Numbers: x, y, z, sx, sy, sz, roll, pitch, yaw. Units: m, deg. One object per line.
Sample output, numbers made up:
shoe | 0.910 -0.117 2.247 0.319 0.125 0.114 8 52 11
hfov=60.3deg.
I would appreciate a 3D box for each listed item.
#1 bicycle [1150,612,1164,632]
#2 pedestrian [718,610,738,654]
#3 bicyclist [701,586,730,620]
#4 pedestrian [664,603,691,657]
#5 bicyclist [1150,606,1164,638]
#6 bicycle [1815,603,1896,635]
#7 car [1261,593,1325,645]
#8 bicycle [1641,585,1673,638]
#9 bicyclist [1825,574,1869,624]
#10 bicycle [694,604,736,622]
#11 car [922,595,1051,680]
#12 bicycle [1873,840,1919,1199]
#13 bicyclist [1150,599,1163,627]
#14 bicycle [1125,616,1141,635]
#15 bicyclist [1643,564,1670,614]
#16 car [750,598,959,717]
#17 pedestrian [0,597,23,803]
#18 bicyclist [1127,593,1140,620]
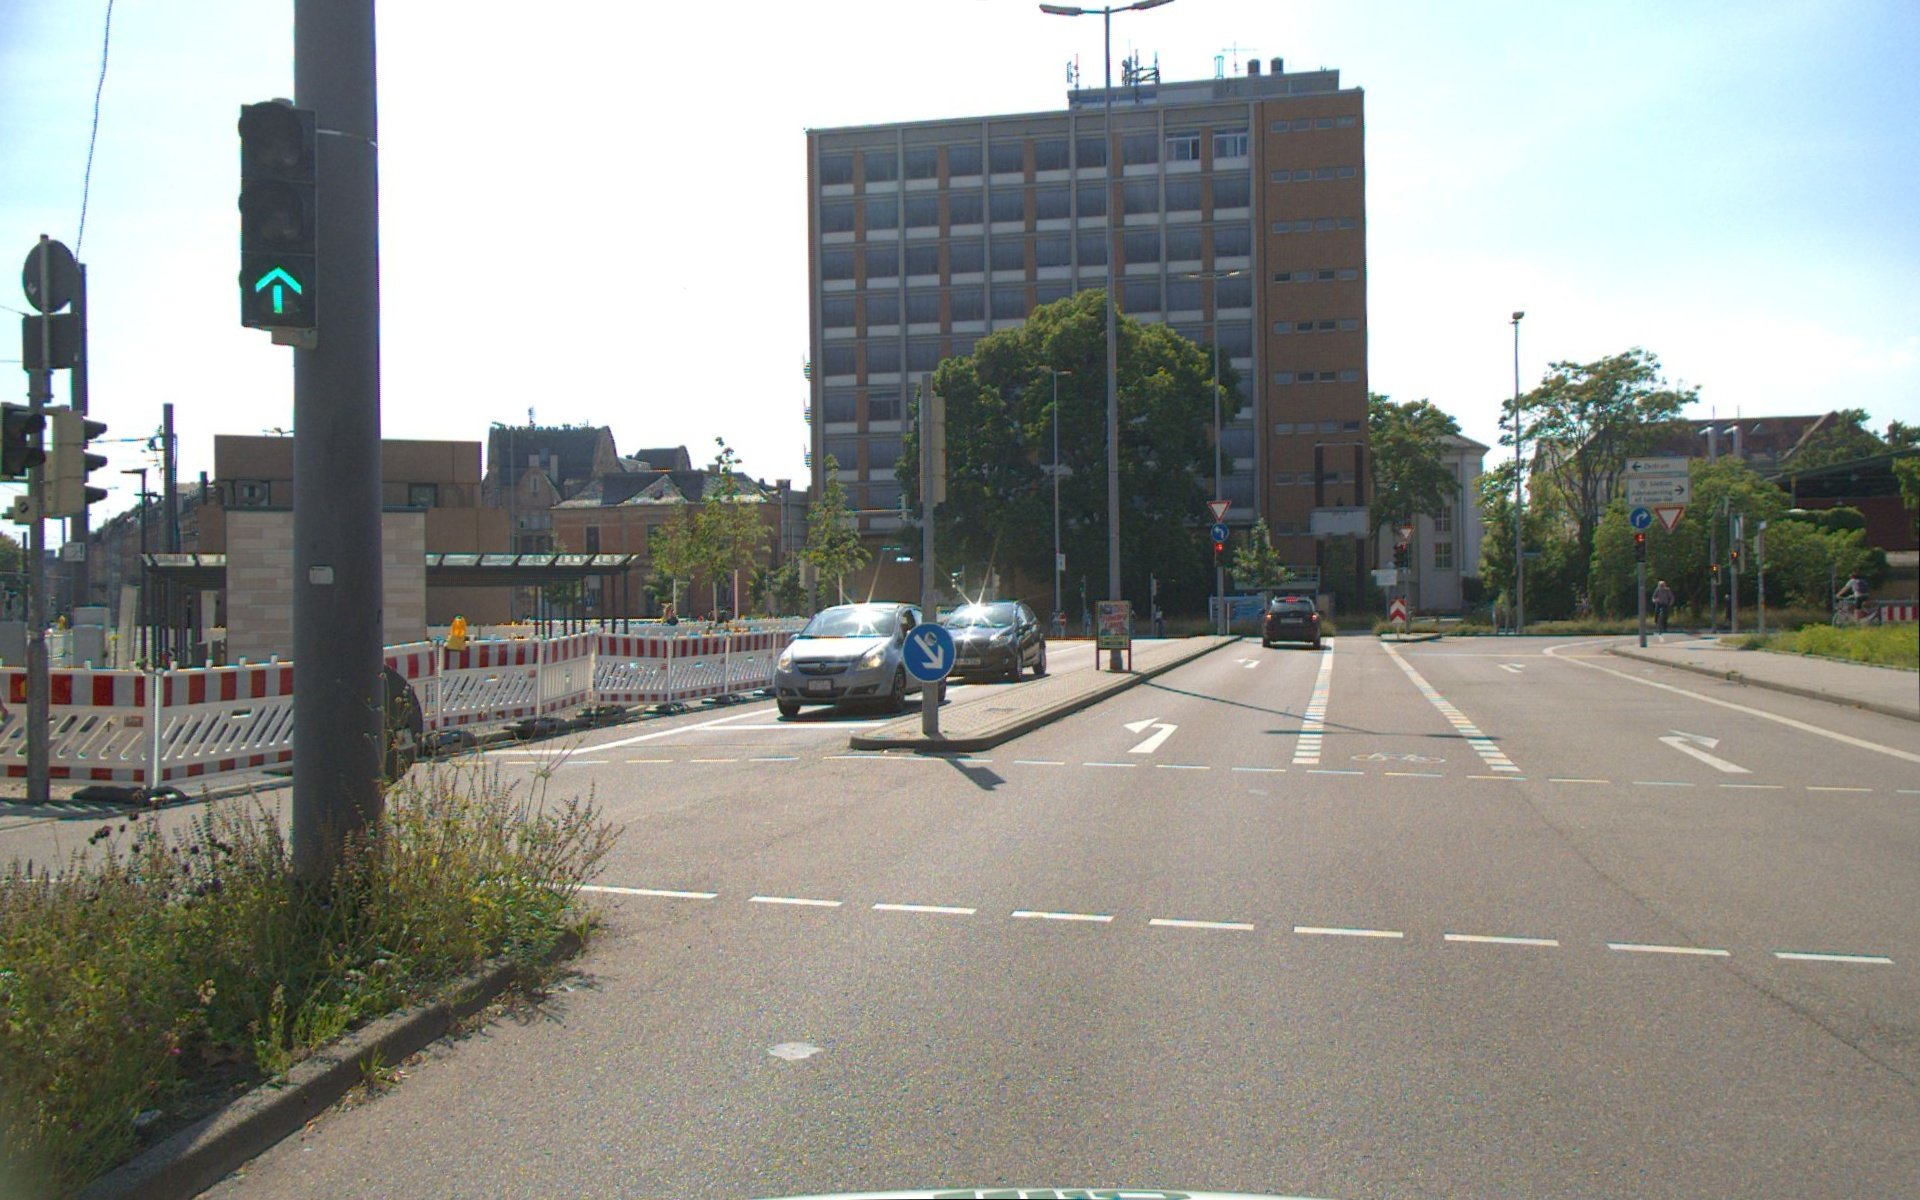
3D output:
bicycle | 10.377 1.159 87.026 0.605 0.977 1.969 -4 -1 8
pedestrian | -8.031 1.102 57.276 0.618 1.518 0.616 -1 0 -3
bicyclist | -10.981 0.117 74.372 1.142 1.500 0.564 -2 0 26
pedestrian | -9.531 1.014 55.796 0.721 1.783 1.110 -1 -3 -3
bicyclist | 10.377 1.159 87.027 0.605 1.609 1.015 -4 -1 8
bicycle | 27.463 0.596 50.755 0.665 0.932 2.147 -1 0 -29
car | 10.022 0.542 49.593 1.742 1.468 3.821 1 0 13
bicycle | 24.329 0.395 57.733 0.663 1.796 1.812 -2 0 13
bicyclist | 27.309 -0.025 50.932 0.489 1.496 1.132 2 -1 -29
bicycle | -11.024 0.587 74.361 1.853 0.806 0.560 -1 1 26
car | 0.564 0.662 31.144 1.630 1.476 3.821 -1 0 13
bicycle | 2.412 1.018 2.768 0.584 0.948 2.027 0 0 -2
bicyclist | 10.349 0.686 87.034 0.605 1.468 0.921 -4 -1 8
bicycle | 9.414 1.370 90.009 0.689 0.994 2.032 -2 0 11
bicyclist | 24.285 -0.382 57.658 0.663 1.684 0.919 -2 0 13
car | -1.352 0.738 23.008 1.755 1.436 4.003 -3 0 13
pedestrian | -7.867 0.803 13.133 0.342 1.644 0.687 -1 0 14
bicyclist | 9.434 0.341 89.996 0.528 1.441 1.031 -2 -1 11
